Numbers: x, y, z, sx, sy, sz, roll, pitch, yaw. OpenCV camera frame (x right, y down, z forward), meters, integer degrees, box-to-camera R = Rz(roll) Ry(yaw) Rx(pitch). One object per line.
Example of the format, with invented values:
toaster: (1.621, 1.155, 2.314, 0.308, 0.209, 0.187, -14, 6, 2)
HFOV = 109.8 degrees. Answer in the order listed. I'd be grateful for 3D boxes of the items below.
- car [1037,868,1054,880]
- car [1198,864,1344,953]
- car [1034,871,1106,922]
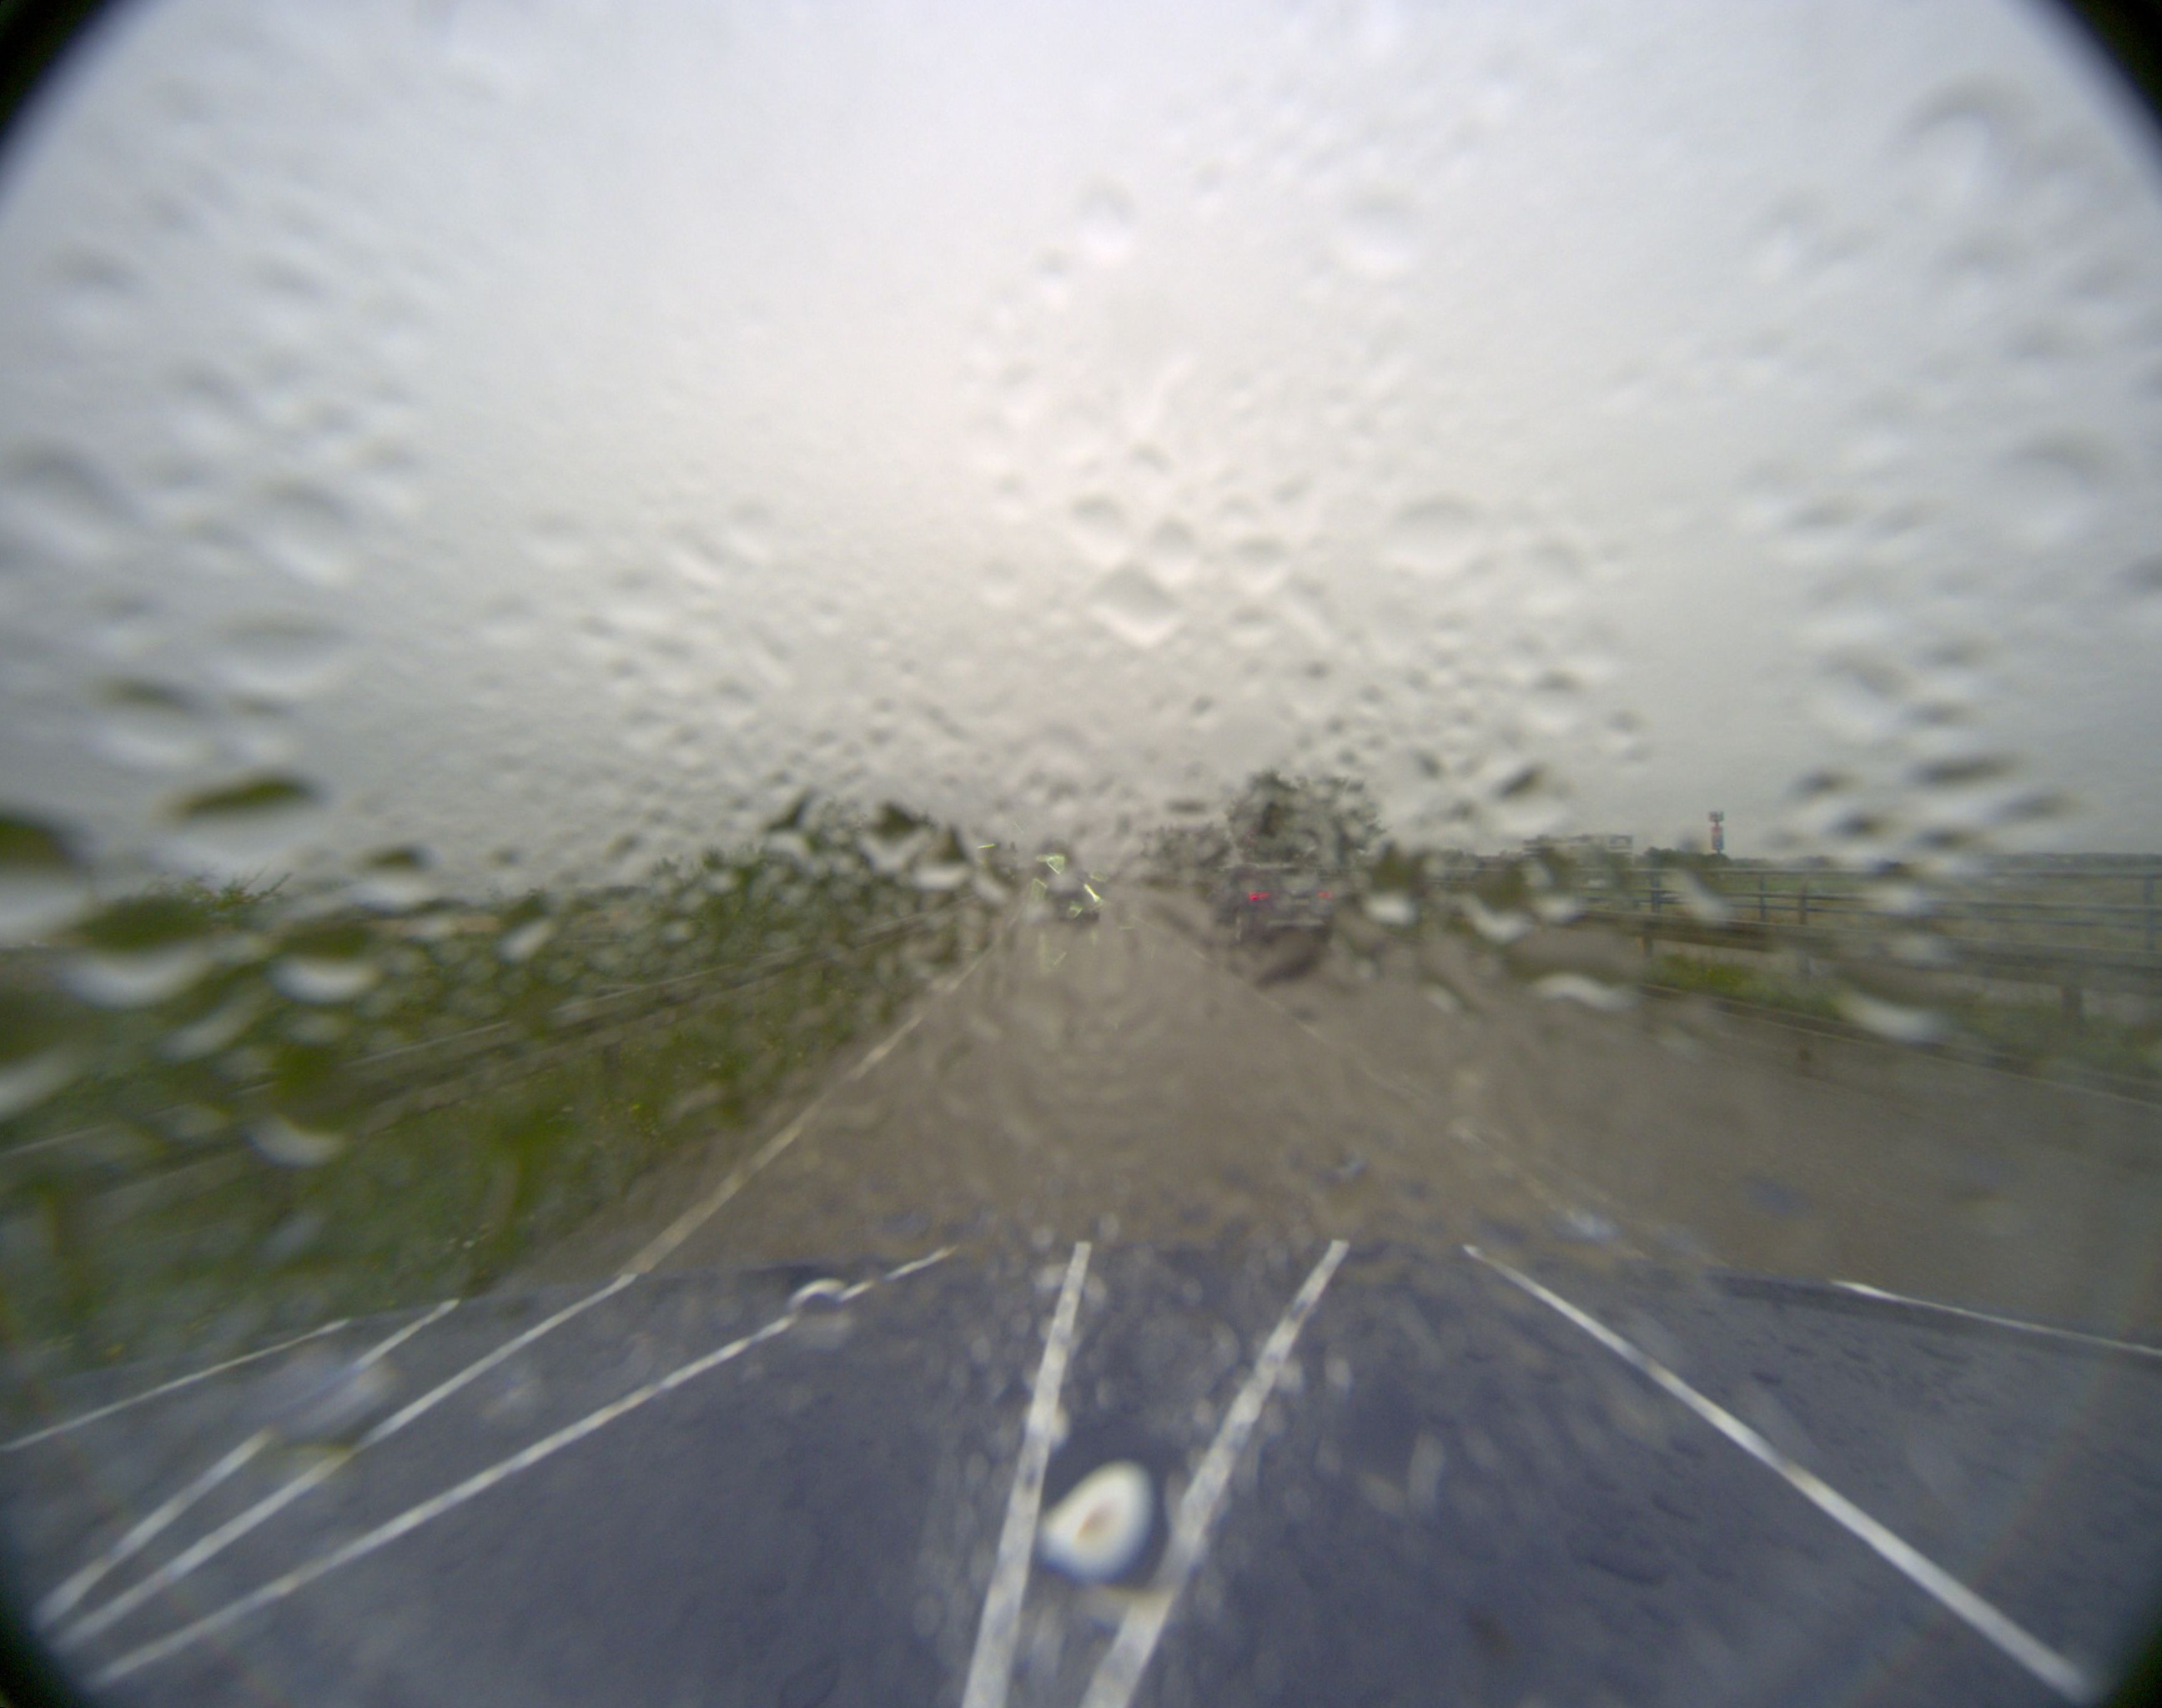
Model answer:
car: (-4.303, 2.413, 91.146, 1.910, 1.361, 4.564, -2, -1, -3)
car: (3.633, 0.978, 15.331, 1.785, 1.517, 4.168, -1, 0, -2)
car: (-0.428, 1.207, 23.036, 1.910, 1.361, 4.564, 1, -1, -4)
